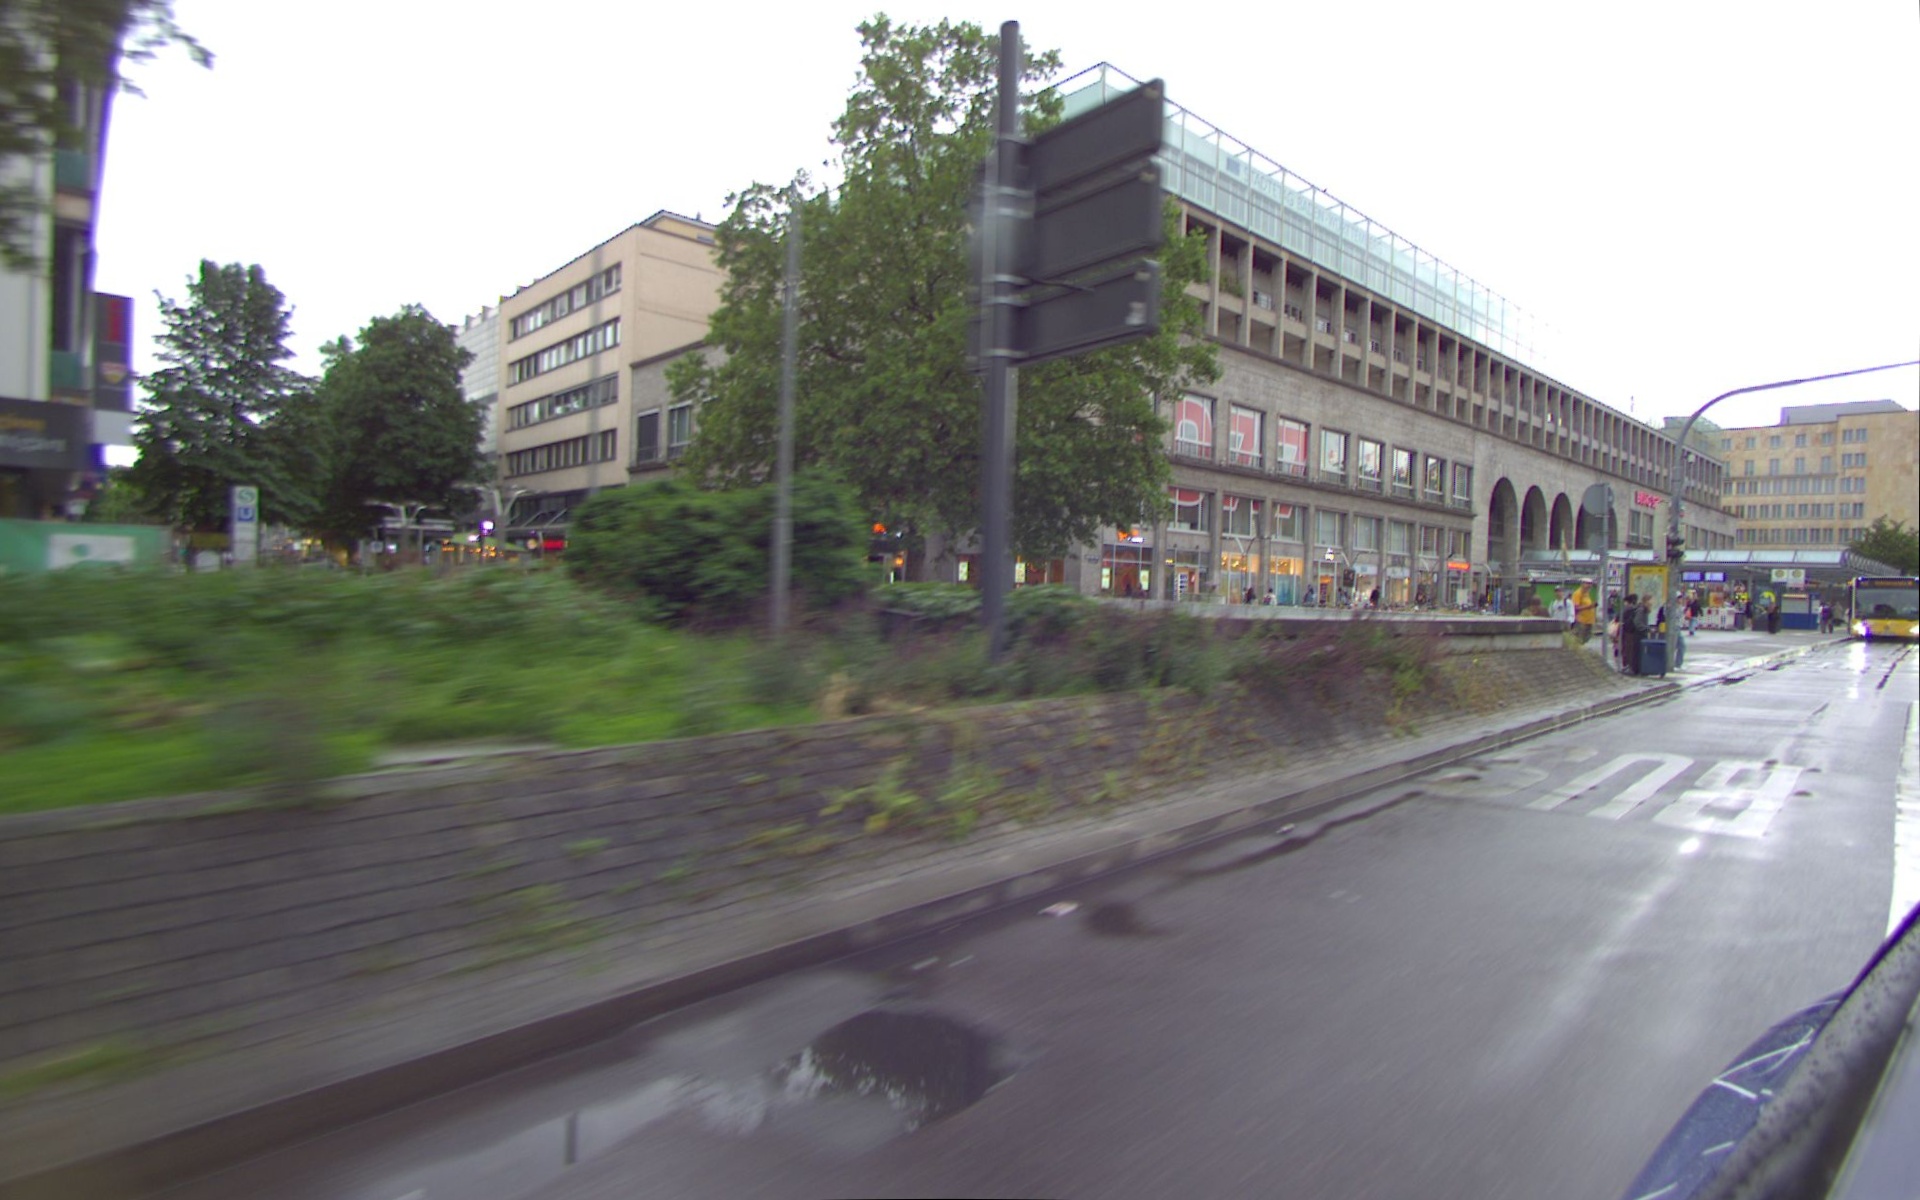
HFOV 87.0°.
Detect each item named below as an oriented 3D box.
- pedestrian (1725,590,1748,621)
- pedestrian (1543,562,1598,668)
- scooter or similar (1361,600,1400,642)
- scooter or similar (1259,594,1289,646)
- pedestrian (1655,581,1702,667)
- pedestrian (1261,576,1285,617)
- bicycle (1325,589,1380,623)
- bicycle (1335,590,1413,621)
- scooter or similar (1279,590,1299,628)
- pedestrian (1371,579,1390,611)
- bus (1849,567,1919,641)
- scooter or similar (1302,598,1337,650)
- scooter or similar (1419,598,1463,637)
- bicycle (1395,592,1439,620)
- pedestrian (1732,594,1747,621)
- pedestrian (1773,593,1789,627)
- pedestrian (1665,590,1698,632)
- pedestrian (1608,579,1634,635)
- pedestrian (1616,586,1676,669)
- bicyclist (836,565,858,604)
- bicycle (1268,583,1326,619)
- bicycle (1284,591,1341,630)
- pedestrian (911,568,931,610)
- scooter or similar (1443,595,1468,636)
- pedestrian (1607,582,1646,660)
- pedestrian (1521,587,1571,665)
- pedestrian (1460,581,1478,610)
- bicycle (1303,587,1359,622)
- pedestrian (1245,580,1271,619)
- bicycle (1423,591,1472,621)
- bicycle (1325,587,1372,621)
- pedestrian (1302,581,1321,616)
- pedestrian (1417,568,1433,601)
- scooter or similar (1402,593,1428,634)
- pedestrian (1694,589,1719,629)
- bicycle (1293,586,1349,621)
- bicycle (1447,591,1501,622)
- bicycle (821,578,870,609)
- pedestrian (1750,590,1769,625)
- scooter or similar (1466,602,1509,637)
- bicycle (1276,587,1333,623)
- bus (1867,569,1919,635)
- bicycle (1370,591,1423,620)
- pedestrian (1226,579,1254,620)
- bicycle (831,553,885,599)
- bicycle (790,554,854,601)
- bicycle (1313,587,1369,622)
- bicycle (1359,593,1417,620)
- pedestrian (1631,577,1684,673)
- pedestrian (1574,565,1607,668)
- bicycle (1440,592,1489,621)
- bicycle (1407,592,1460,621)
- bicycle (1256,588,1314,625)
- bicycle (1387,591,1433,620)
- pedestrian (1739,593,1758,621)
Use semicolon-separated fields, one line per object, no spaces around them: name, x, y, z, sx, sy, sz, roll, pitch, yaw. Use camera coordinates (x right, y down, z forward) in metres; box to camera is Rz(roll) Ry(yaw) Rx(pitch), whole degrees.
pedestrian;48.260;0.330;62.903;0.779;1.827;0.987;2;1;19
pedestrian;12.880;0.302;21.365;0.707;2.172;0.711;0;1;-33
scooter or similar;13.371;0.656;32.206;0.429;1.265;1.369;0;1;-13
scooter or similar;7.837;0.478;25.242;0.371;1.275;1.300;0;0;34
pedestrian;15.821;0.511;22.310;0.742;1.827;0.701;2;1;32
pedestrian;12.710;-0.167;41.095;0.605;1.621;0.646;0;3;-37
bicycle;16.207;0.236;41.818;1.983;1.252;0.610;4;3;35
bicycle;17.461;0.209;42.744;2.868;1.122;0.869;4;3;35
scooter or similar;11.367;0.287;34.978;0.613;1.276;1.740;0;1;19
pedestrian;22.939;-0.289;55.154;0.763;1.717;0.722;0;0;-44
bus;44.684;0.148;47.959;9.089;3.245;3.116;0;1;-44
scooter or similar;8.683;0.564;24.427;0.352;1.232;1.139;0;0;45
scooter or similar;16.468;0.586;34.659;1.298;1.272;0.586;1;1;33
bicycle;20.252;0.250;44.864;1.718;1.122;0.682;4;2;25
pedestrian;54.730;0.521;71.052;0.579;1.897;0.599;1;0;-10
pedestrian;39.009;0.468;48.076;0.592;1.639;0.504;0;0;40
pedestrian;28.959;0.426;40.629;0.773;1.661;0.789;1;1;-29
pedestrian;23.947;0.241;36.662;0.704;1.956;0.778;2;1;37
pedestrian;14.671;0.574;21.648;0.745;1.712;0.876;1;1;-43
bicyclist;-4.736;-0.649;42.406;0.889;1.573;0.653;1;1;-6
bicycle;12.855;0.038;38.641;0.607;1.252;1.993;1;3;-41
bicycle;13.732;0.399;39.506;0.607;1.351;1.993;1;3;-41
pedestrian;-1.561;-0.439;40.694;0.755;1.688;0.713;0;0;-5
scooter or similar;15.379;0.468;31.388;1.081;1.252;0.324;0;0;-43
pedestrian;15.922;0.484;24.190;0.534;1.827;0.753;2;1;19
pedestrian;12.125;0.523;20.942;0.621;1.574;0.659;0;0;-30
pedestrian;32.843;-0.302;65.300;0.776;1.814;0.732;0;1;-43
bicycle;14.768;0.153;40.366;0.607;1.252;1.993;1;3;-41
pedestrian;12.283;-0.018;41.708;0.767;1.542;0.672;1;1;-35
bicycle;22.795;0.286;47.388;0.606;1.252;1.998;1;3;-33
bicycle;15.817;0.149;41.243;0.607;1.240;1.619;1;3;-41
pedestrian;17.493;-0.094;50.322;0.696;1.710;0.598;0;1;-43
pedestrian;27.441;-0.927;59.714;0.780;1.953;0.650;2;1;23
scooter or similar;14.765;0.433;32.828;1.153;1.297;0.369;0;0;-43
pedestrian;31.464;0.369;42.659;0.491;1.639;0.654;1;1;-29
bicycle;14.232;0.138;39.939;0.607;1.252;1.993;1;3;-41
bicycle;23.416;0.294;46.109;2.143;1.252;0.619;2;2;-8
bicycle;-4.786;-0.279;42.415;1.973;1.271;0.662;1;1;-5
pedestrian;45.403;0.417;57.487;0.791;1.953;0.696;2;1;37
scooter or similar;17.581;0.647;33.754;1.337;1.144;0.439;0;-2;-17
bicycle;13.297;0.171;39.057;0.607;1.252;1.993;1;3;-41
bus;51.212;0.070;54.182;8.981;3.288;3.145;0;1;-43
bicycle;18.883;0.238;43.755;1.969;1.122;0.816;4;3;33
pedestrian;12.001;-0.028;43.345;0.872;1.695;0.795;0;0;-36
bicycle;-3.838;-0.887;38.060;1.958;1.654;0.618;1;1;-36
bicycle;-4.874;-0.795;35.751;2.091;1.581;0.795;1;1;-36
bicycle;15.354;0.178;40.826;0.607;1.281;1.993;1;3;-41
bicycle;18.240;0.253;43.168;2.215;1.123;0.734;1;1;32
pedestrian;14.087;0.484;20.474;0.783;1.861;0.939;2;1;32
pedestrian;13.687;0.347;21.980;0.551;2.172;0.660;2;1;32
bicycle;23.721;0.291;47.614;0.606;1.252;1.998;1;3;-32
bicycle;21.284;0.270;45.538;2.065;1.153;0.884;4;2;21
bicycle;12.203;0.247;38.055;0.607;1.252;1.993;1;3;-41
bicycle;19.670;0.232;44.233;1.683;1.122;0.666;4;3;33
pedestrian;50.715;0.449;65.108;0.885;1.716;0.750;1;0;-40
